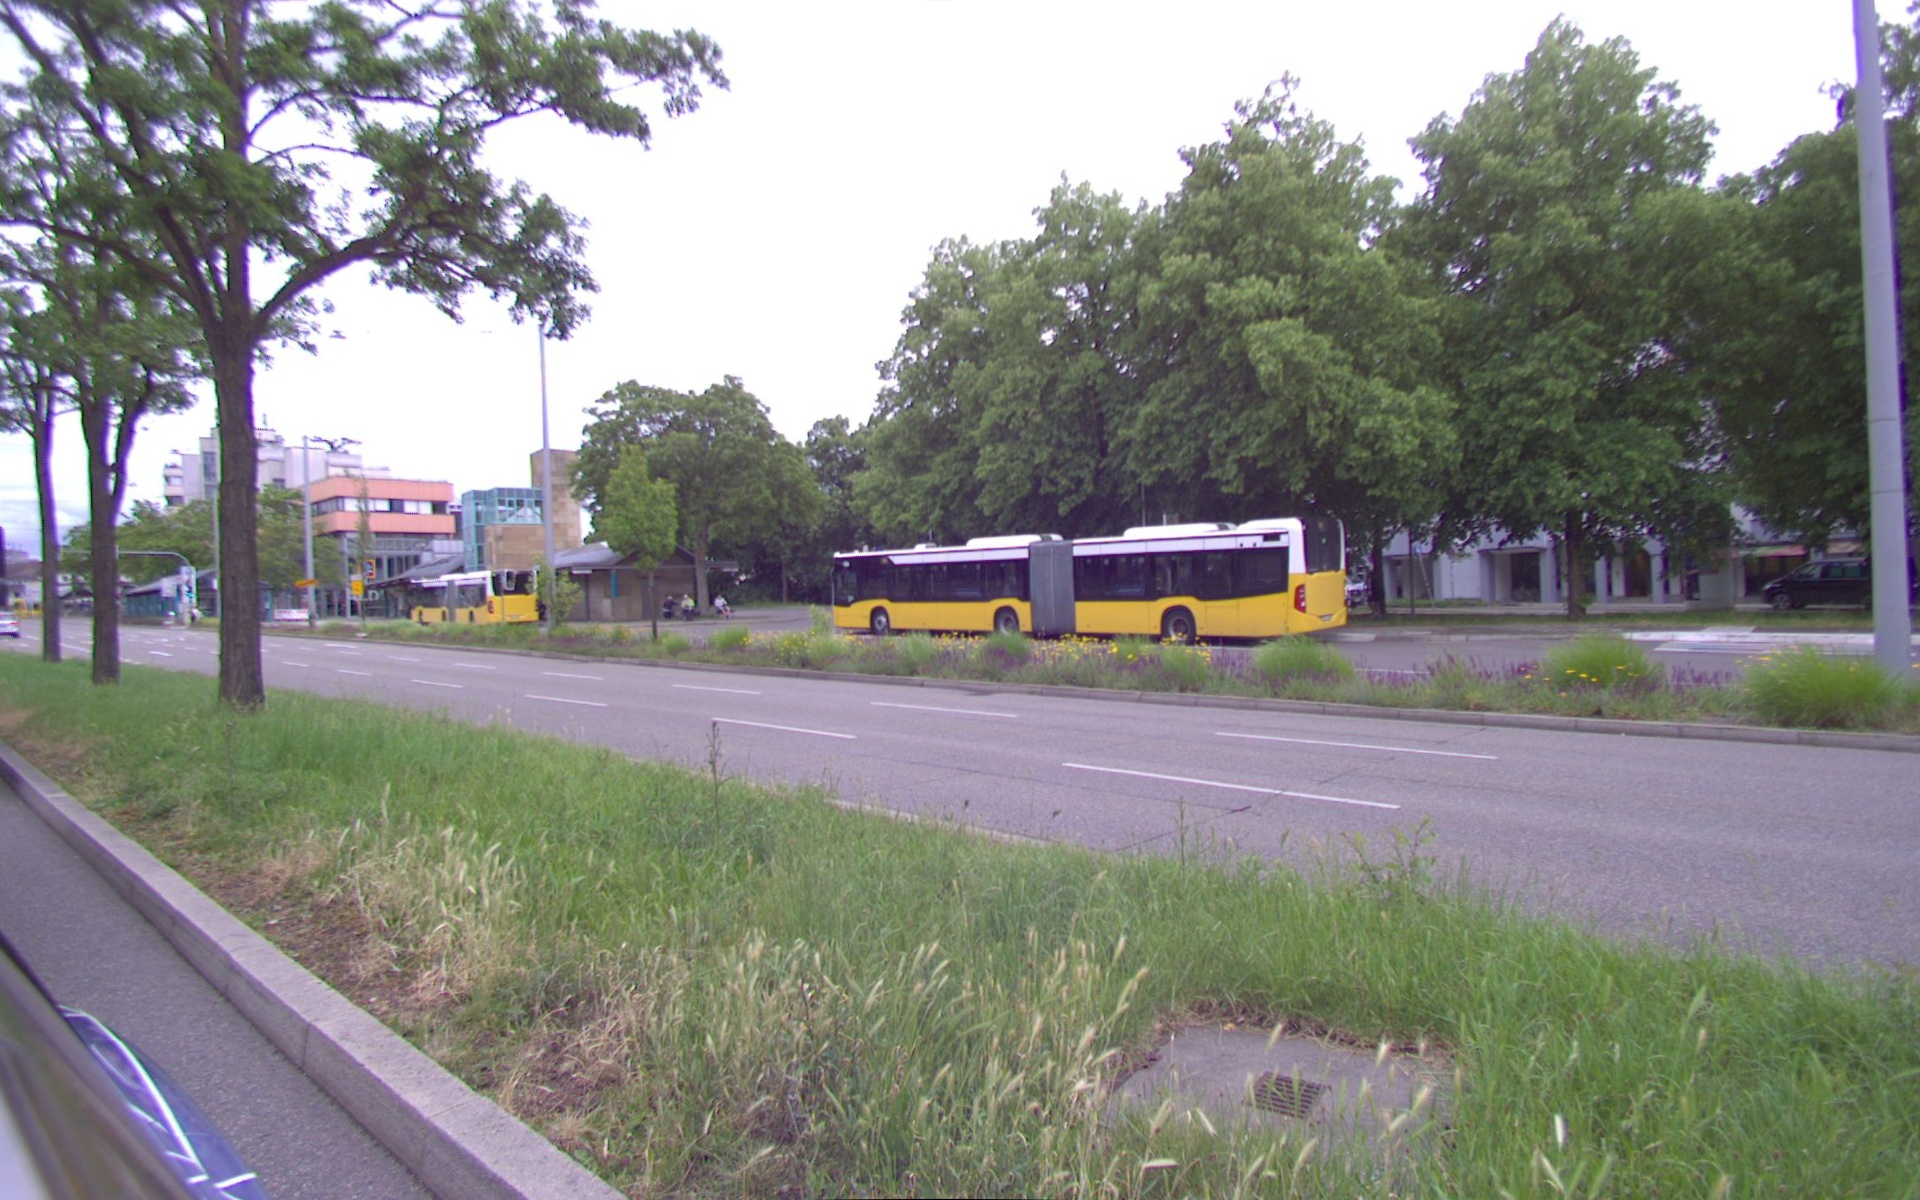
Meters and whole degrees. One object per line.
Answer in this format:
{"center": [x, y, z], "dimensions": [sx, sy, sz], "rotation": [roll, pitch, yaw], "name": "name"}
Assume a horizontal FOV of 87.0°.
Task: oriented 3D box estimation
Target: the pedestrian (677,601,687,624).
{"center": [-13.916, 0.619, 50.611], "dimensions": [0.361, 1.175, 0.900], "rotation": [-1, 0, -23], "name": "pedestrian"}

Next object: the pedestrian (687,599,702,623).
{"center": [-13.312, 0.562, 50.728], "dimensions": [0.589, 1.171, 0.745], "rotation": [-1, 0, -23], "name": "pedestrian"}

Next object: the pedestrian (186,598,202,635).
{"center": [-58.668, 1.280, 77.511], "dimensions": [0.889, 2.809, 1.150], "rotation": [-1, 0, -36], "name": "pedestrian"}

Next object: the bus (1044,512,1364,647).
{"center": [6.132, -0.422, 26.670], "dimensions": [2.848, 3.025, 7.889], "rotation": [-1, 0, -44], "name": "bus"}

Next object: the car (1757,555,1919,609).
{"center": [32.939, -0.624, 37.951], "dimensions": [1.758, 1.861, 4.429], "rotation": [-1, 0, -35], "name": "car"}

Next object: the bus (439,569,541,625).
{"center": [-25.969, -0.087, 55.631], "dimensions": [2.846, 2.830, 9.191], "rotation": [-1, 0, -40], "name": "bus"}

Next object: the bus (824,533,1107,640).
{"center": [-0.206, -0.310, 33.274], "dimensions": [2.848, 3.025, 10.401], "rotation": [-1, 0, -44], "name": "bus"}

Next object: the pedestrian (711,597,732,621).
{"center": [-12.096, 0.459, 51.324], "dimensions": [0.924, 1.180, 0.641], "rotation": [-1, 0, 41], "name": "pedestrian"}

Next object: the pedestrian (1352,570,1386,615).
{"center": [14.743, -0.263, 36.466], "dimensions": [0.904, 1.569, 0.761], "rotation": [-1, 0, 41], "name": "pedestrian"}

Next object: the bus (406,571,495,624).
{"center": [-31.454, -0.095, 62.250], "dimensions": [2.846, 3.025, 9.191], "rotation": [-1, 0, -39], "name": "bus"}

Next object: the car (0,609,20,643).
{"center": [-60.152, 1.630, 63.288], "dimensions": [4.000, 2.029, 1.703], "rotation": [-1, 0, 43], "name": "car"}

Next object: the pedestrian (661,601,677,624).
{"center": [-15.079, 0.633, 52.382], "dimensions": [0.590, 1.171, 0.744], "rotation": [-1, 0, -34], "name": "pedestrian"}
